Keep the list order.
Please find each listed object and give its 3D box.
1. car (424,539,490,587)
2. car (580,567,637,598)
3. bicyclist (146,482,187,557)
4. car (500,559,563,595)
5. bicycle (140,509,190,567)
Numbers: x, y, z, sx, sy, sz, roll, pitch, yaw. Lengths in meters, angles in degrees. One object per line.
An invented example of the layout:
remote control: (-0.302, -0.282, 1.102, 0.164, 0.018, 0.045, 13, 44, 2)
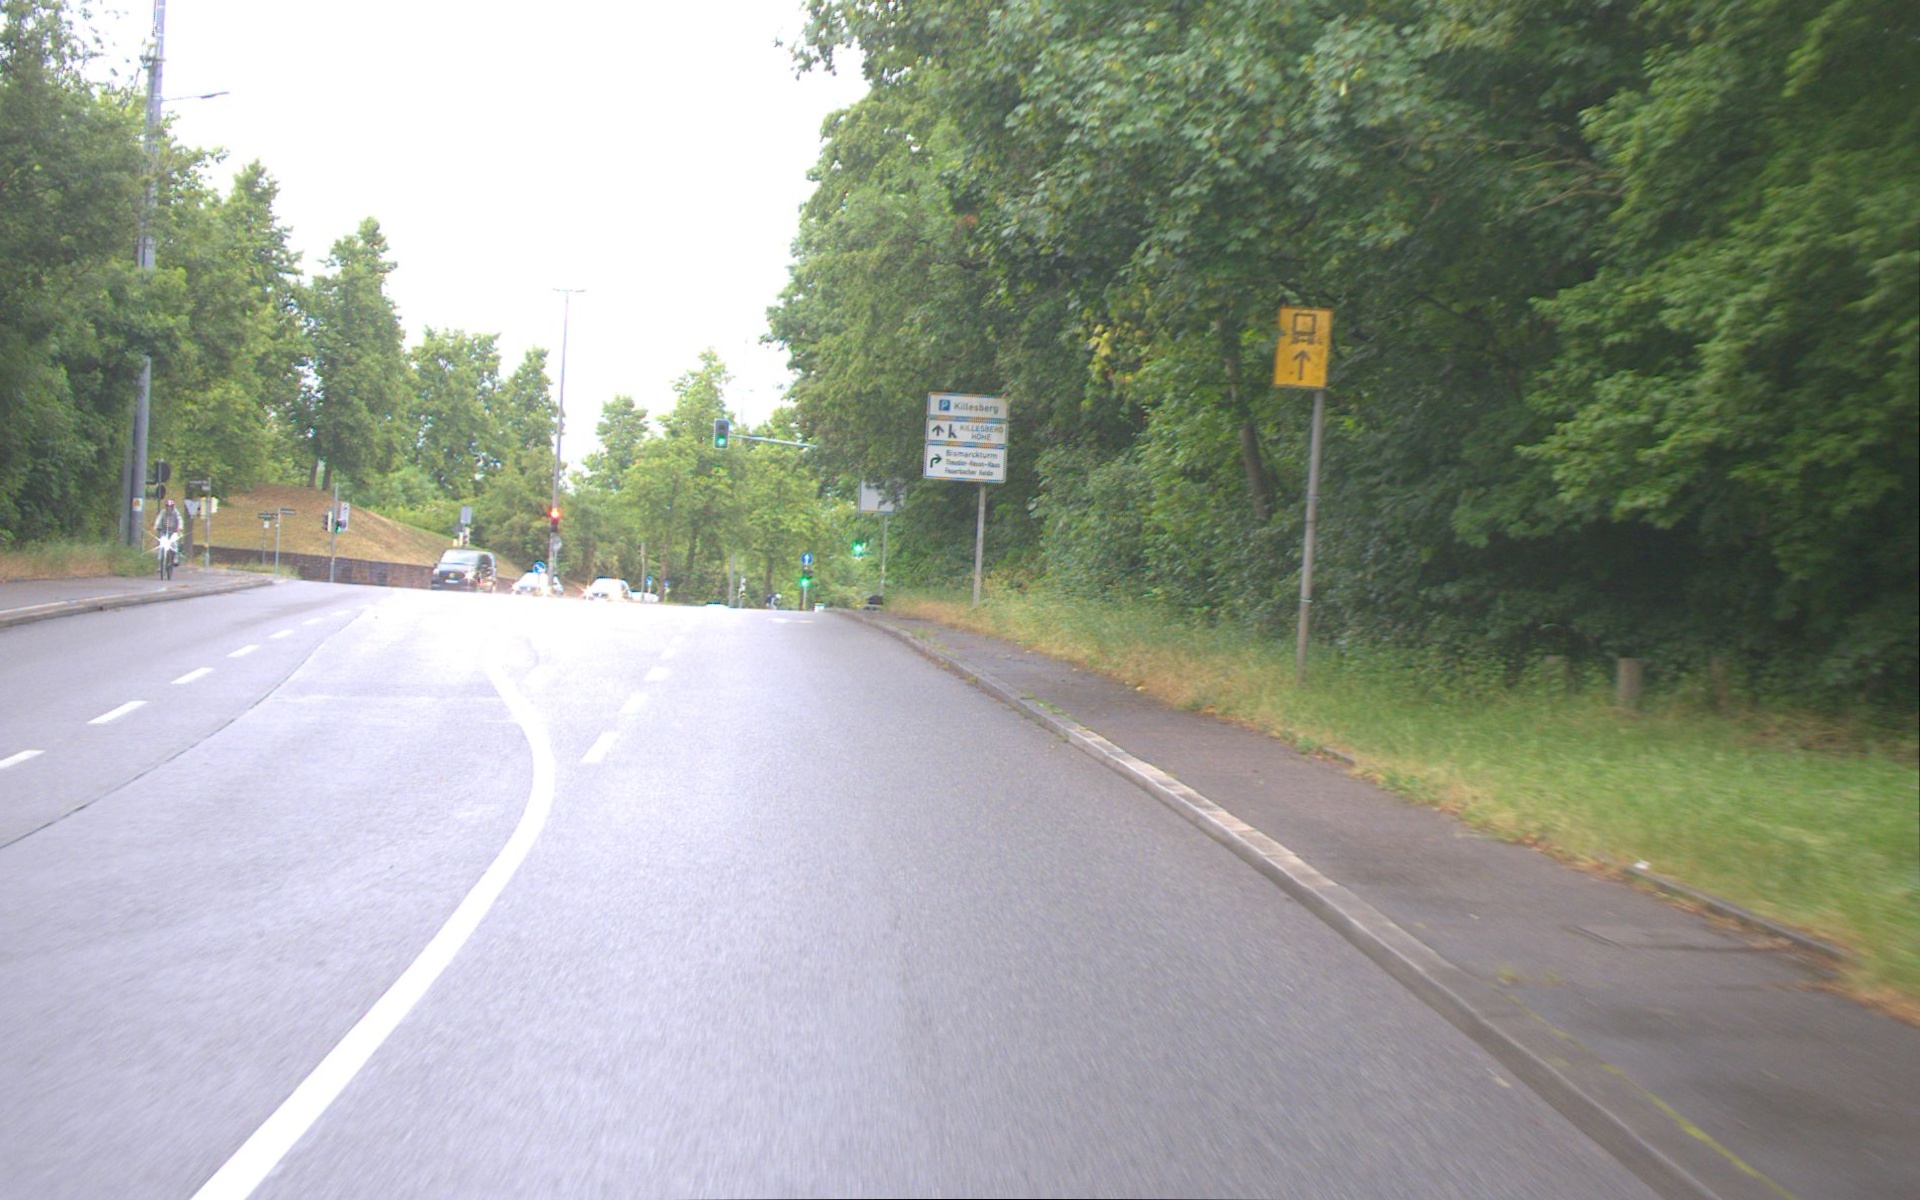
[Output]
car: (-20.527, -1.494, 140.387, 1.993, 1.842, 4.000, 1, -1, 1)
car: (-16.046, -0.784, 157.079, 1.897, 1.349, 3.999, 1, -1, 4)
bicyclist: (-17.552, -1.779, 76.037, 0.704, 1.639, 0.951, 1, 1, -4)
car: (-19.571, -1.053, 157.151, 1.898, 1.546, 3.999, 1, -1, 7)
bicycle: (-17.569, -1.369, 76.039, 0.704, 1.238, 2.164, 1, 1, -4)
